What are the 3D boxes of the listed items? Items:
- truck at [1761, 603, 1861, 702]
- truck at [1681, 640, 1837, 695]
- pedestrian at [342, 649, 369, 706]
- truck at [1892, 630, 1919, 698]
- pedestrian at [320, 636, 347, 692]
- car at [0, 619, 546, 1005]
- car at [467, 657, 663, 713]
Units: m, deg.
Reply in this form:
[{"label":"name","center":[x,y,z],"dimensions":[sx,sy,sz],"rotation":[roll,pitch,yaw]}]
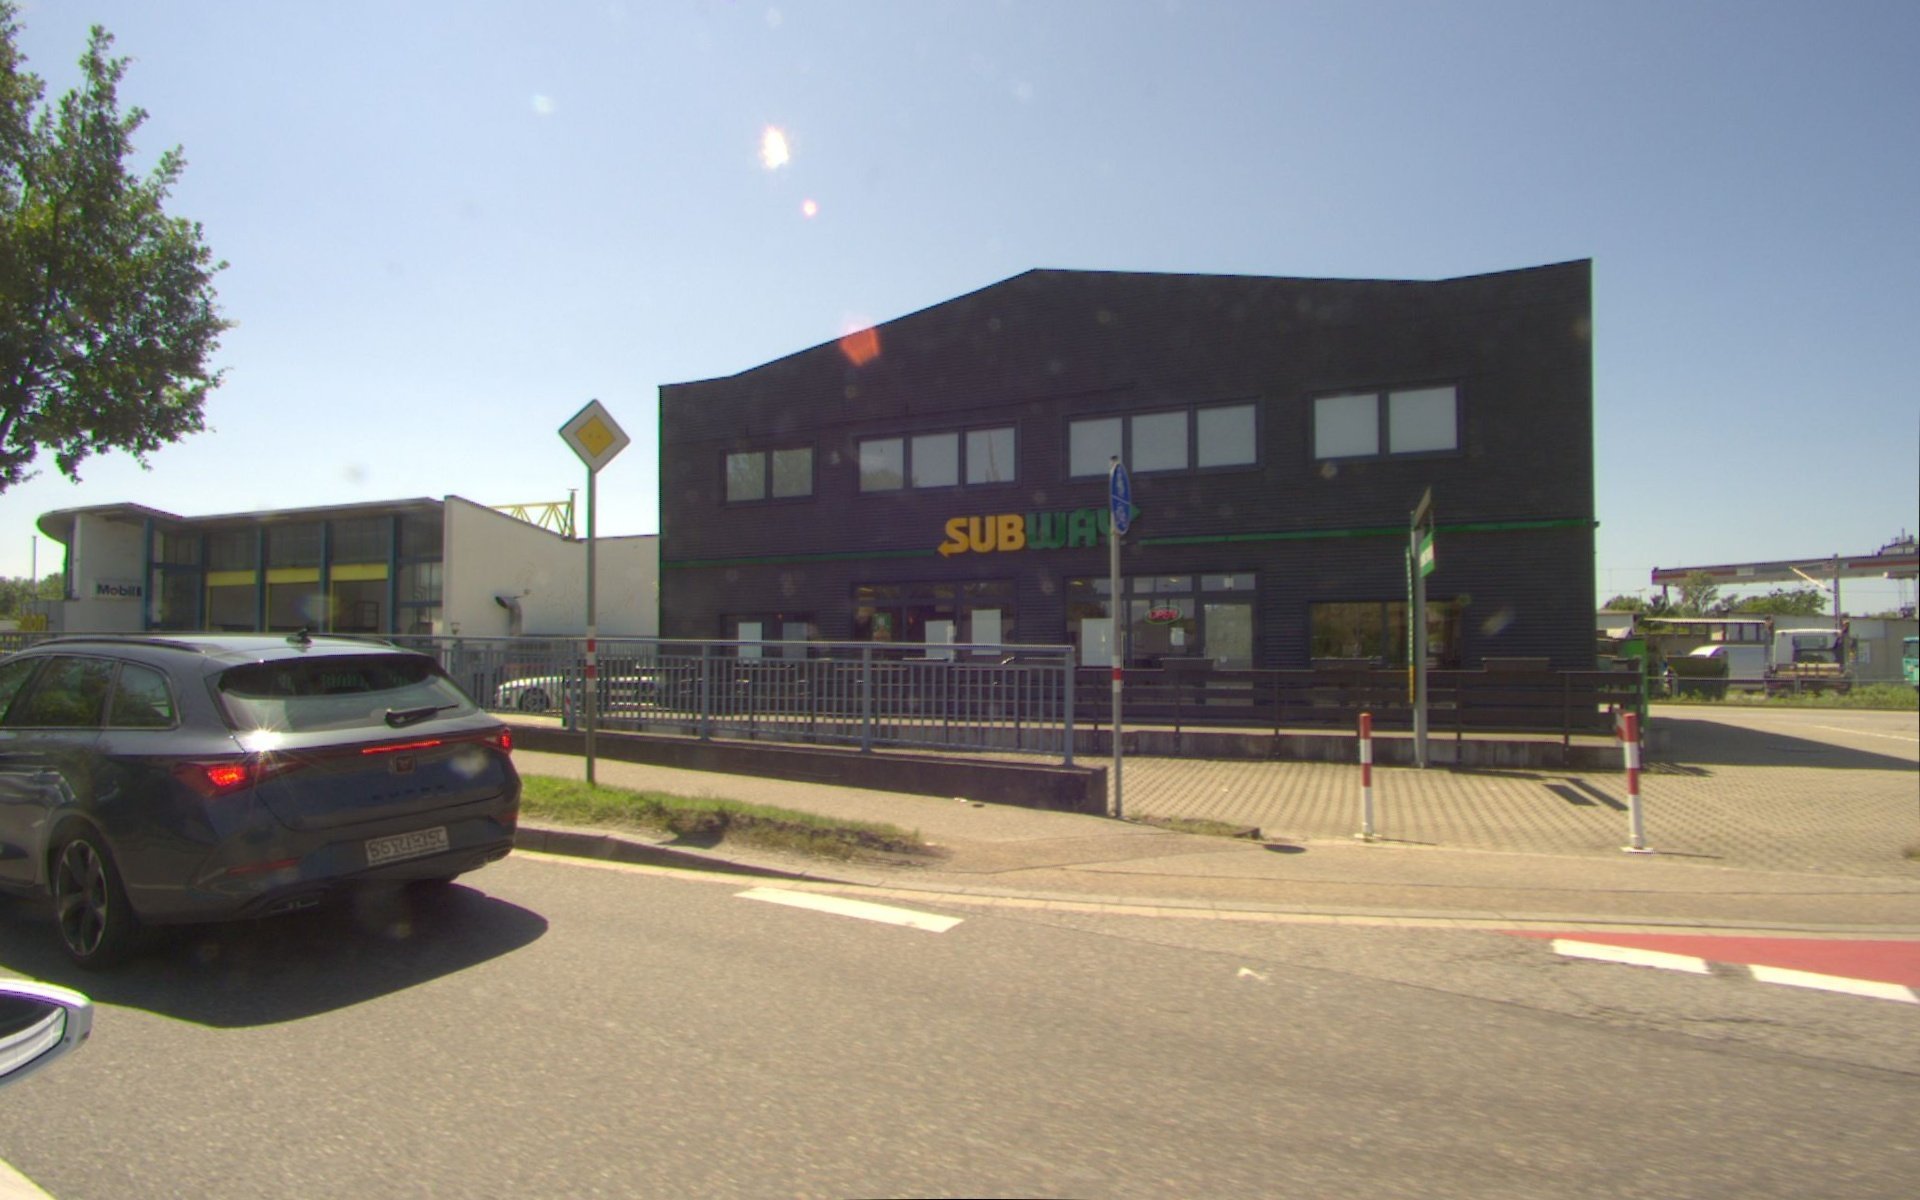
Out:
[{"label":"truck","center":[32.816,1.995,38.633],"dimensions":[2.691,3.423,7.346],"rotation":[-1,-3,41]},{"label":"truck","center":[42.412,3.532,53.290],"dimensions":[5.991,2.825,2.652],"rotation":[0,-2,4]},{"label":"pedestrian","center":[-18.657,2.375,30.918],"dimensions":[0.579,1.724,0.426],"rotation":[0,-1,23]},{"label":"truck","center":[51.546,3.204,49.959],"dimensions":[7.410,3.411,2.804],"rotation":[0,-2,0]},{"label":"pedestrian","center":[-19.320,1.960,30.893],"dimensions":[0.480,1.724,0.522],"rotation":[-1,-1,24]},{"label":"car","center":[-4.388,0.872,5.517],"dimensions":[4.169,1.474,1.604],"rotation":[-1,-2,28]},{"label":"car","center":[-11.214,2.361,28.500],"dimensions":[5.008,1.375,1.991],"rotation":[1,-2,-28]}]
